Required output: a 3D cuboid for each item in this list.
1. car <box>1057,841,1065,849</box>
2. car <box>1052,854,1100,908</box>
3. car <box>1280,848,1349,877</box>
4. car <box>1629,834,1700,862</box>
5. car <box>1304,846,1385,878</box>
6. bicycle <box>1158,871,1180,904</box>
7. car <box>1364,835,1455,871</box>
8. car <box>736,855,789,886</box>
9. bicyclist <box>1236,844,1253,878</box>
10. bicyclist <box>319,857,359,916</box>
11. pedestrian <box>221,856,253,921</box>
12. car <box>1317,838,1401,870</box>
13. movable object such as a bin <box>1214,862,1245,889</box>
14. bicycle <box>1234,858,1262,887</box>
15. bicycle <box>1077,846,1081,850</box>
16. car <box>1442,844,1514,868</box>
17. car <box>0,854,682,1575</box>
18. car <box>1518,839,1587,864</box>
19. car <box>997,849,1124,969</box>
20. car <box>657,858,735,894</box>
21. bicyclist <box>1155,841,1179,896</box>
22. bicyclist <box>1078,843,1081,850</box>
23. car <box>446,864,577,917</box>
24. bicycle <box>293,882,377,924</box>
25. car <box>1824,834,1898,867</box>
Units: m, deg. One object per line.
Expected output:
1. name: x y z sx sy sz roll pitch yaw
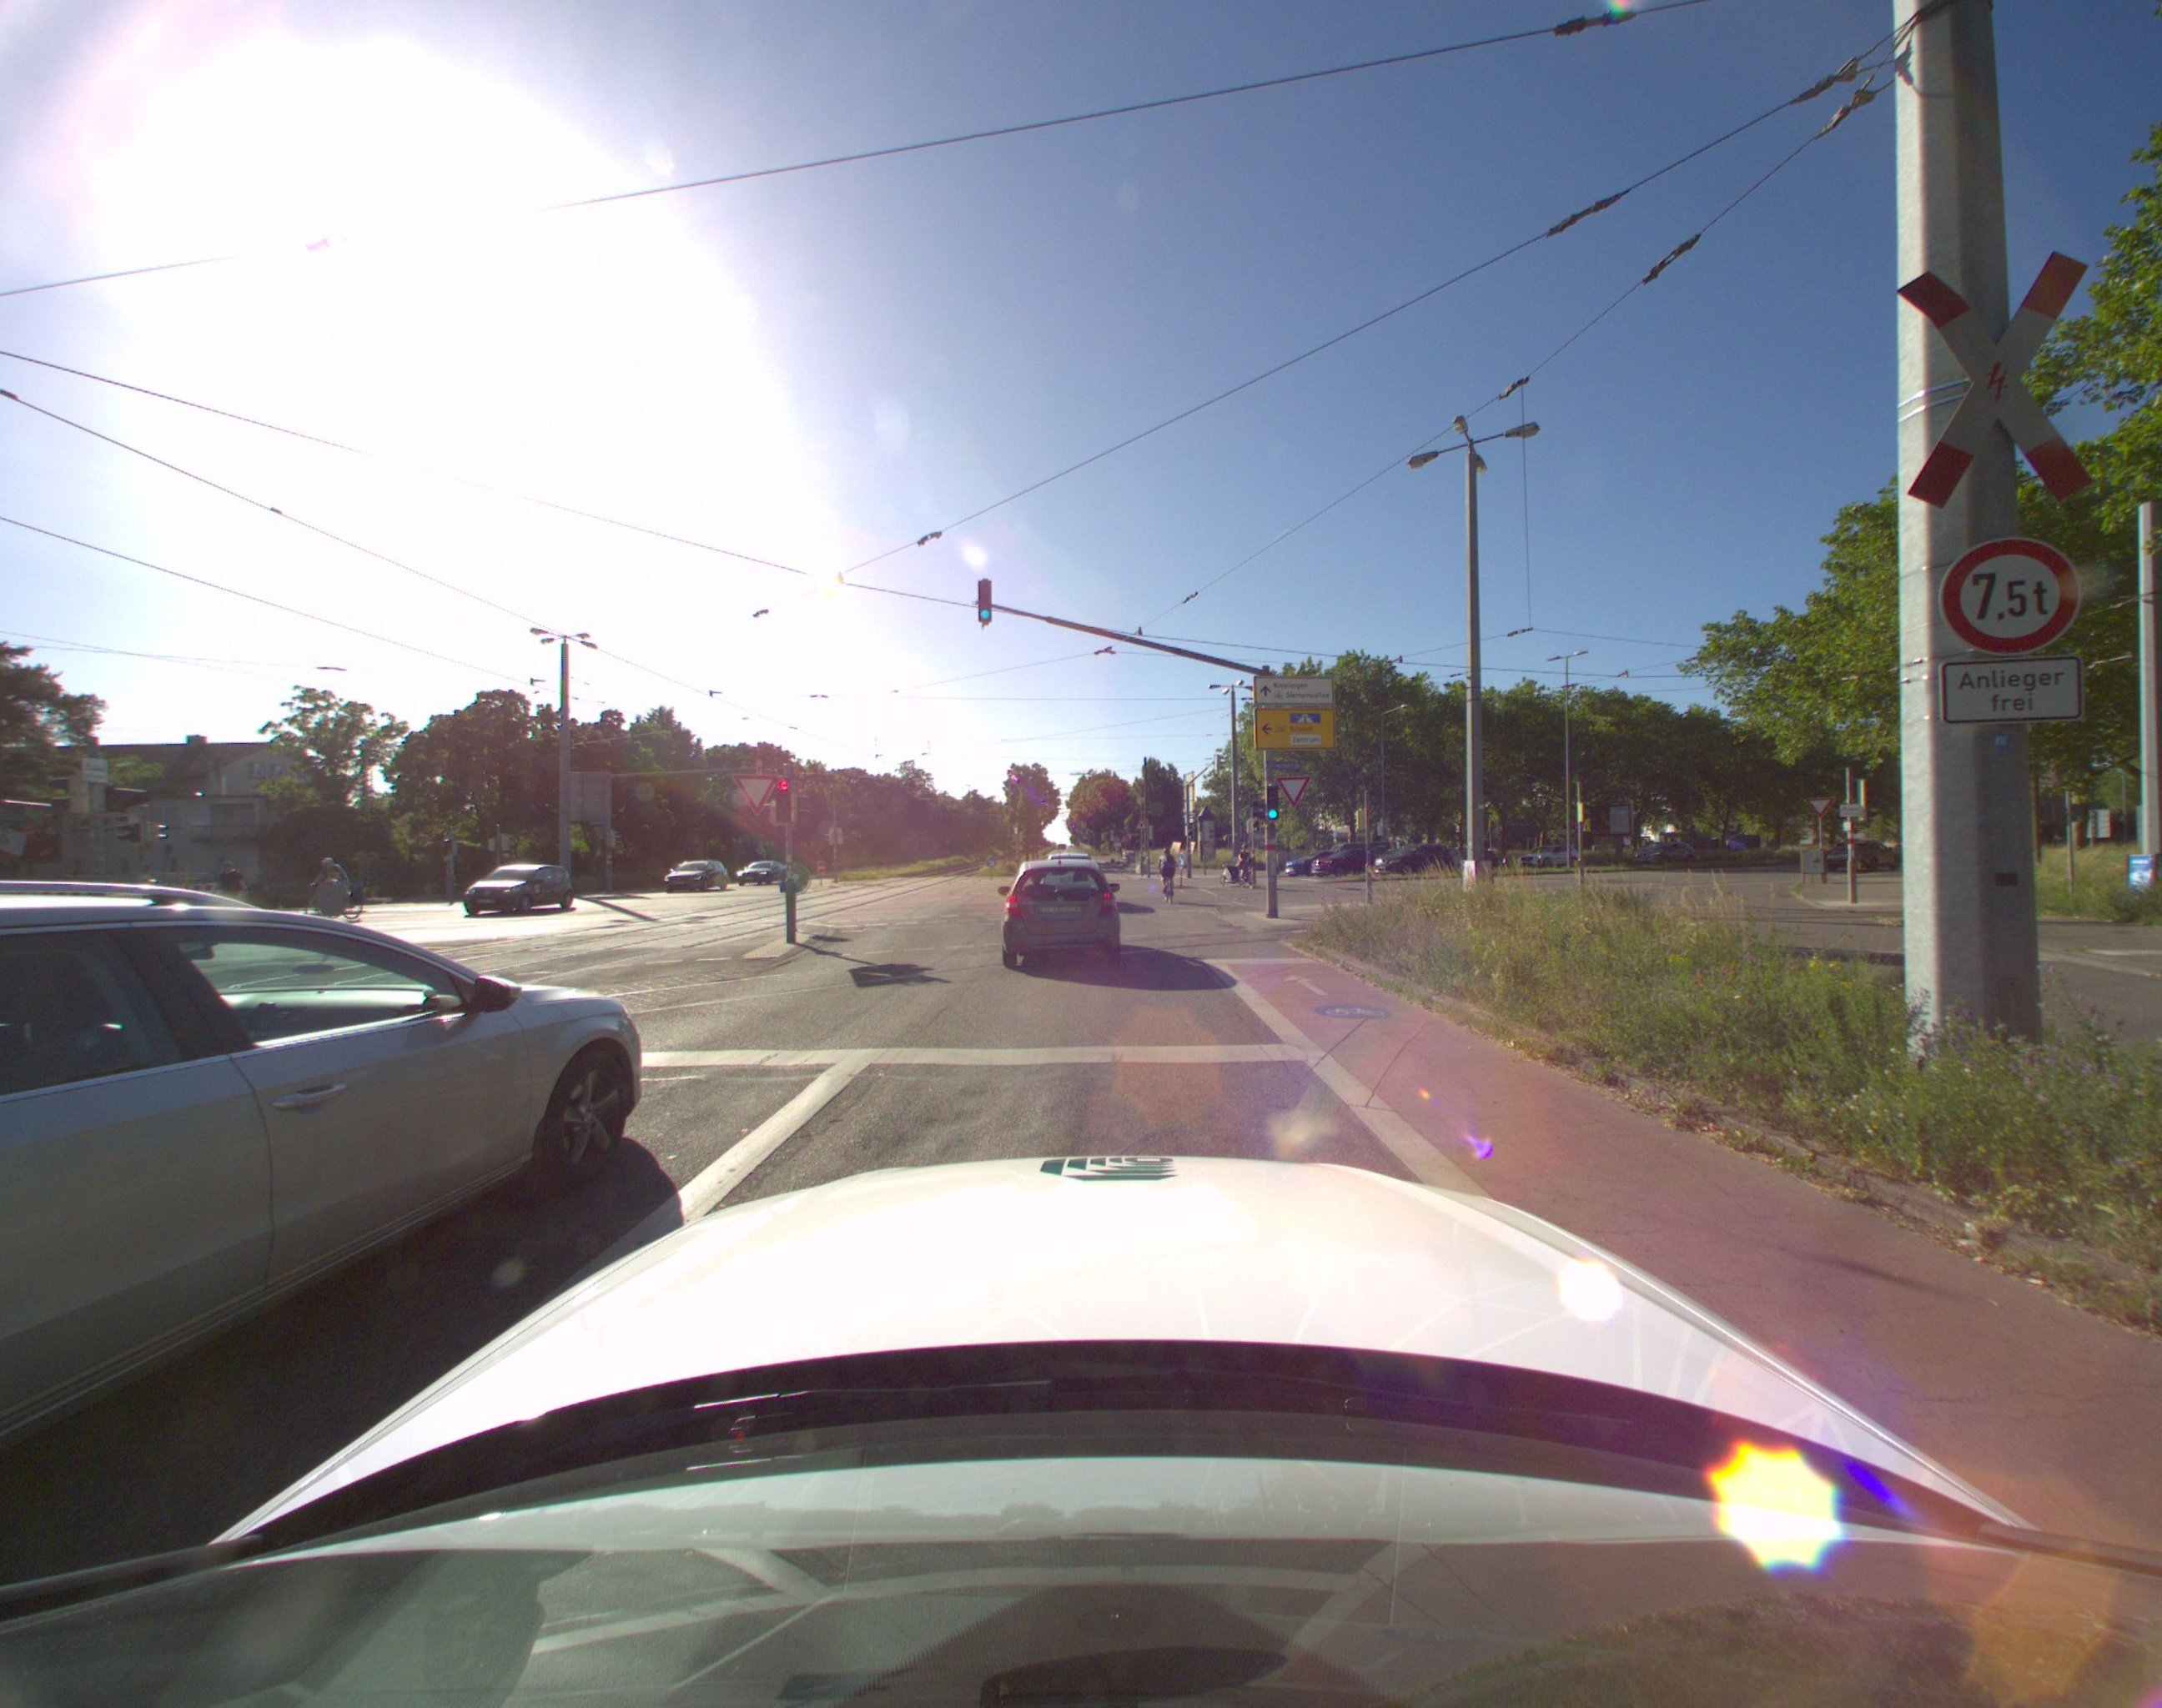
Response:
1. car: -5.030 -2.212 204.596 1.987 2.013 4.000 -1 0 0
2. car: -0.133 0.774 24.763 1.347 1.527 3.123 -1 0 0
3. car: 14.140 0.513 49.245 3.869 1.600 1.698 -1 0 -27
4. car: 37.136 -0.379 51.843 4.008 1.618 1.982 -1 -1 -27
5. car: 14.566 0.424 45.051 4.095 1.600 1.802 -1 0 -24
6. bicycle: 2.751 1.033 25.619 0.522 0.923 2.090 -1 0 2
7. car: 17.077 -0.059 42.331 4.505 1.711 1.904 -1 0 -27
8. car: -18.729 0.938 48.061 1.789 1.687 3.994 -1 0 -5
9. bicyclist: 6.658 0.288 33.147 0.509 1.340 0.563 -1 0 -10
10. bicyclist: -20.765 0.902 22.787 0.488 1.608 0.648 -1 0 1
11. pedestrian: -25.846 1.038 24.941 0.615 1.948 0.767 -1 0 -43
12. car: 19.198 0.012 56.371 5.084 2.070 2.131 -1 0 1
13. movable object such as a bin: 6.272 0.892 34.447 0.909 1.068 1.312 -1 0 -9
14. bicycle: 6.694 0.733 32.673 0.466 1.119 1.814 -1 0 -9
15. bicycle: -0.431 -1.423 198.746 0.815 1.048 2.506 0 -1 0
16. car: 26.559 0.131 54.421 4.580 1.408 1.918 -1 0 -27
17. car: -3.242 0.792 2.428 1.871 1.527 4.420 -1 0 0
18. car: 33.097 -0.149 57.176 4.785 1.682 1.892 0 -1 -26
19. car: -0.241 0.724 12.663 1.665 1.515 3.674 1 1 1
20. car: -18.650 1.008 39.698 1.809 1.596 4.687 -1 0 -3
21. bicyclist: 2.702 0.458 25.570 0.613 1.679 0.933 -1 0 0
22. bicyclist: -0.422 -1.800 198.772 0.815 1.524 0.966 0 -1 0
23. car: -17.785 1.092 25.638 1.680 1.458 3.698 -1 0 -4
24. bicycle: -20.754 1.352 22.706 0.505 1.042 1.949 -1 0 1
25. car: 42.013 -0.173 43.862 3.782 1.704 1.810 -1 0 -28
